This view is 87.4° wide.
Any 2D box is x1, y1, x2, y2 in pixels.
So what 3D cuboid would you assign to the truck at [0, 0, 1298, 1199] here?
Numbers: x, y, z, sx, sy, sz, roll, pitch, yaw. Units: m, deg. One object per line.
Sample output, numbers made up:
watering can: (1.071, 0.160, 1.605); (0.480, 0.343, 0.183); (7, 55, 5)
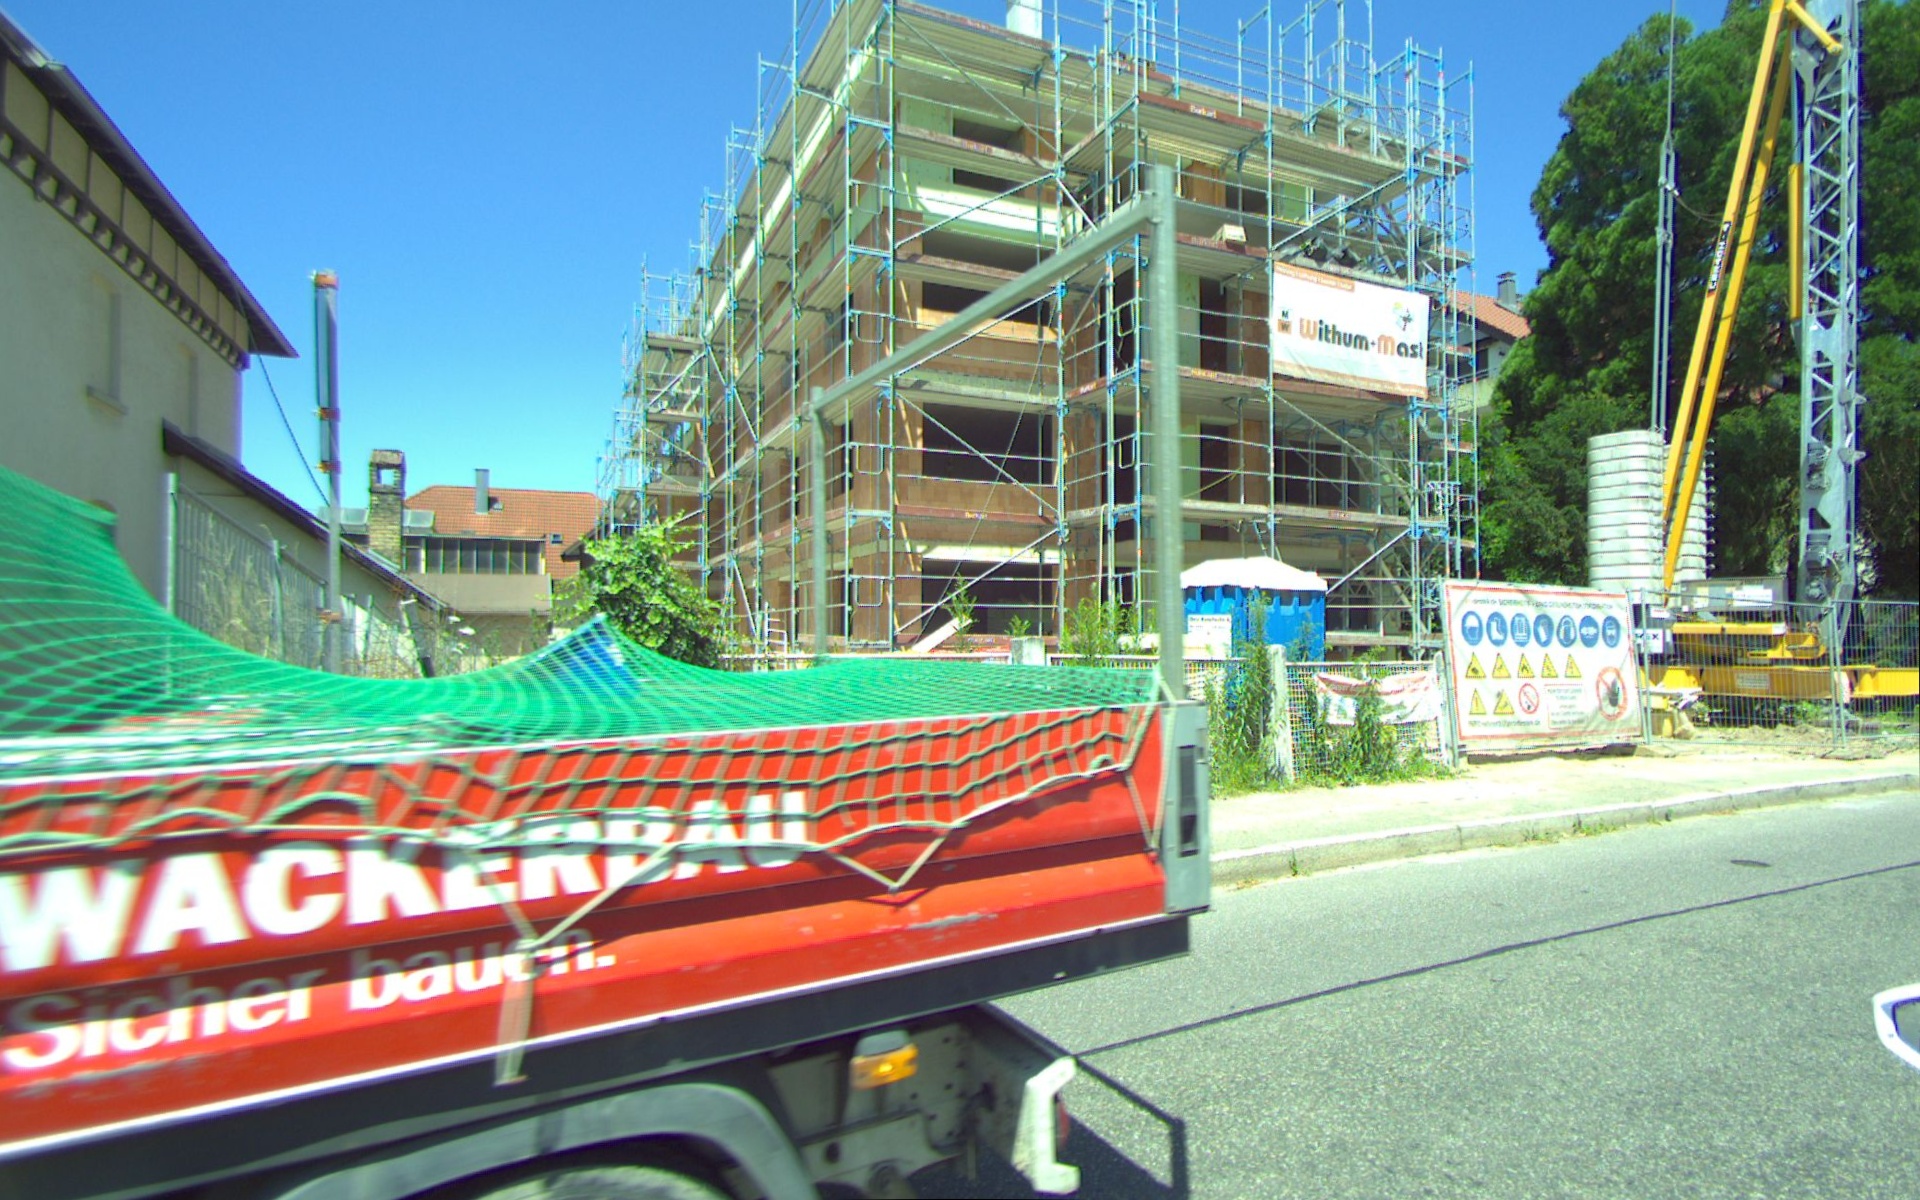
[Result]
truck: (-2.612, 0.135, 1.381); (6.355, 2.369, 2.119); (2, -3, -29)
